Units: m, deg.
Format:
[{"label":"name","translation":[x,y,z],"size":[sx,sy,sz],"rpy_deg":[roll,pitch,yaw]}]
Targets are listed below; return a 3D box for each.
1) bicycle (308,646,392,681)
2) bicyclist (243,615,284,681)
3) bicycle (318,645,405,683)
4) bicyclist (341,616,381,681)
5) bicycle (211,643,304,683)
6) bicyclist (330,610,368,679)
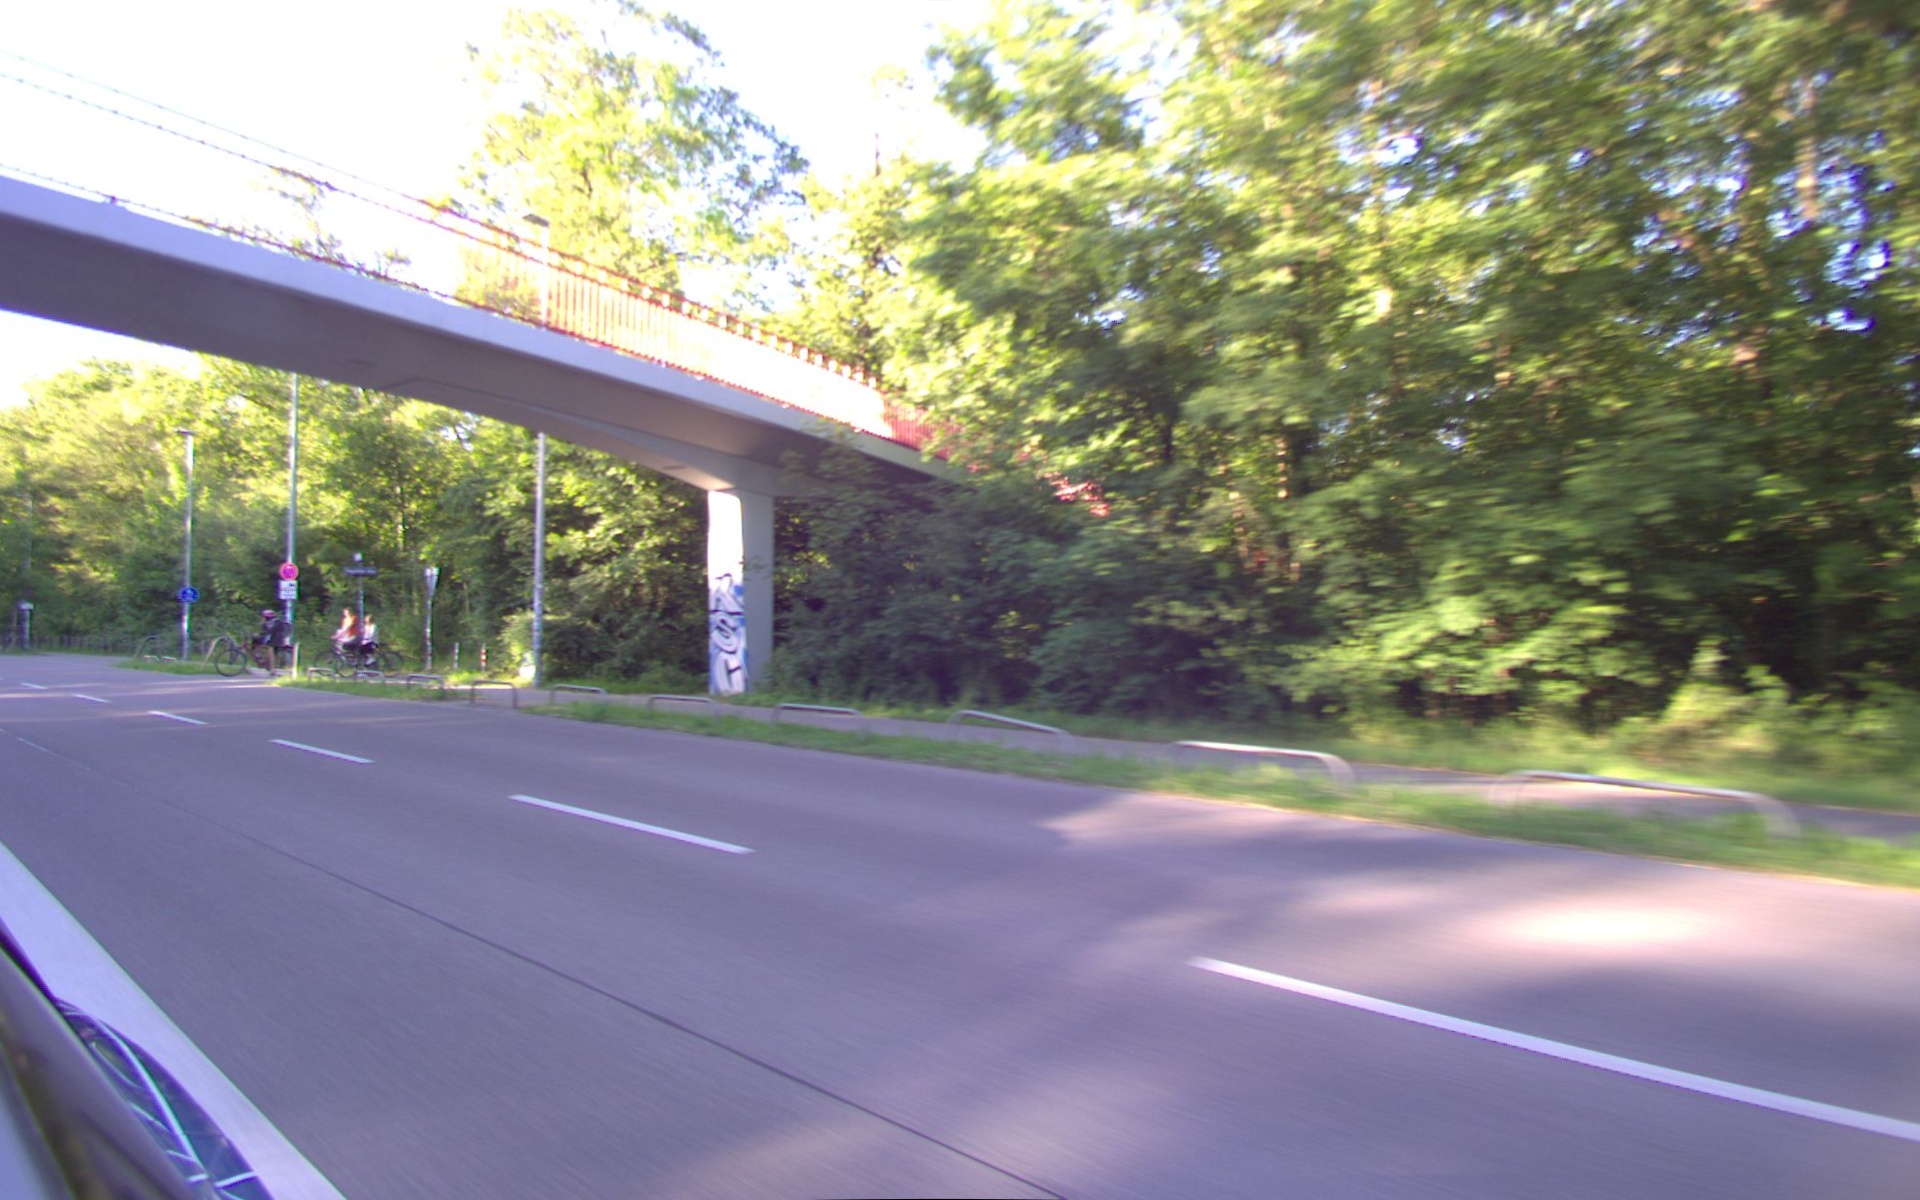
[{"label":"bicycle","translation":[-17.107,1.760,28.395],"size":[1.903,0.941,0.825],"rpy_deg":[2,-3,-42]},{"label":"bicyclist","translation":[-18.002,1.221,26.163],"size":[0.785,1.656,0.842],"rpy_deg":[0,-2,-42]},{"label":"bicycle","translation":[-16.220,1.725,27.447],"size":[1.903,0.941,0.825],"rpy_deg":[1,-2,-42]},{"label":"bicyclist","translation":[-16.249,1.303,27.449],"size":[0.785,1.710,0.946],"rpy_deg":[1,-2,-42]},{"label":"bicycle","translation":[-18.088,1.596,26.081],"size":[1.903,0.941,0.825],"rpy_deg":[1,-2,-42]},{"label":"bicyclist","translation":[-17.133,1.235,28.378],"size":[0.785,1.915,0.818],"rpy_deg":[1,-2,-42]}]
